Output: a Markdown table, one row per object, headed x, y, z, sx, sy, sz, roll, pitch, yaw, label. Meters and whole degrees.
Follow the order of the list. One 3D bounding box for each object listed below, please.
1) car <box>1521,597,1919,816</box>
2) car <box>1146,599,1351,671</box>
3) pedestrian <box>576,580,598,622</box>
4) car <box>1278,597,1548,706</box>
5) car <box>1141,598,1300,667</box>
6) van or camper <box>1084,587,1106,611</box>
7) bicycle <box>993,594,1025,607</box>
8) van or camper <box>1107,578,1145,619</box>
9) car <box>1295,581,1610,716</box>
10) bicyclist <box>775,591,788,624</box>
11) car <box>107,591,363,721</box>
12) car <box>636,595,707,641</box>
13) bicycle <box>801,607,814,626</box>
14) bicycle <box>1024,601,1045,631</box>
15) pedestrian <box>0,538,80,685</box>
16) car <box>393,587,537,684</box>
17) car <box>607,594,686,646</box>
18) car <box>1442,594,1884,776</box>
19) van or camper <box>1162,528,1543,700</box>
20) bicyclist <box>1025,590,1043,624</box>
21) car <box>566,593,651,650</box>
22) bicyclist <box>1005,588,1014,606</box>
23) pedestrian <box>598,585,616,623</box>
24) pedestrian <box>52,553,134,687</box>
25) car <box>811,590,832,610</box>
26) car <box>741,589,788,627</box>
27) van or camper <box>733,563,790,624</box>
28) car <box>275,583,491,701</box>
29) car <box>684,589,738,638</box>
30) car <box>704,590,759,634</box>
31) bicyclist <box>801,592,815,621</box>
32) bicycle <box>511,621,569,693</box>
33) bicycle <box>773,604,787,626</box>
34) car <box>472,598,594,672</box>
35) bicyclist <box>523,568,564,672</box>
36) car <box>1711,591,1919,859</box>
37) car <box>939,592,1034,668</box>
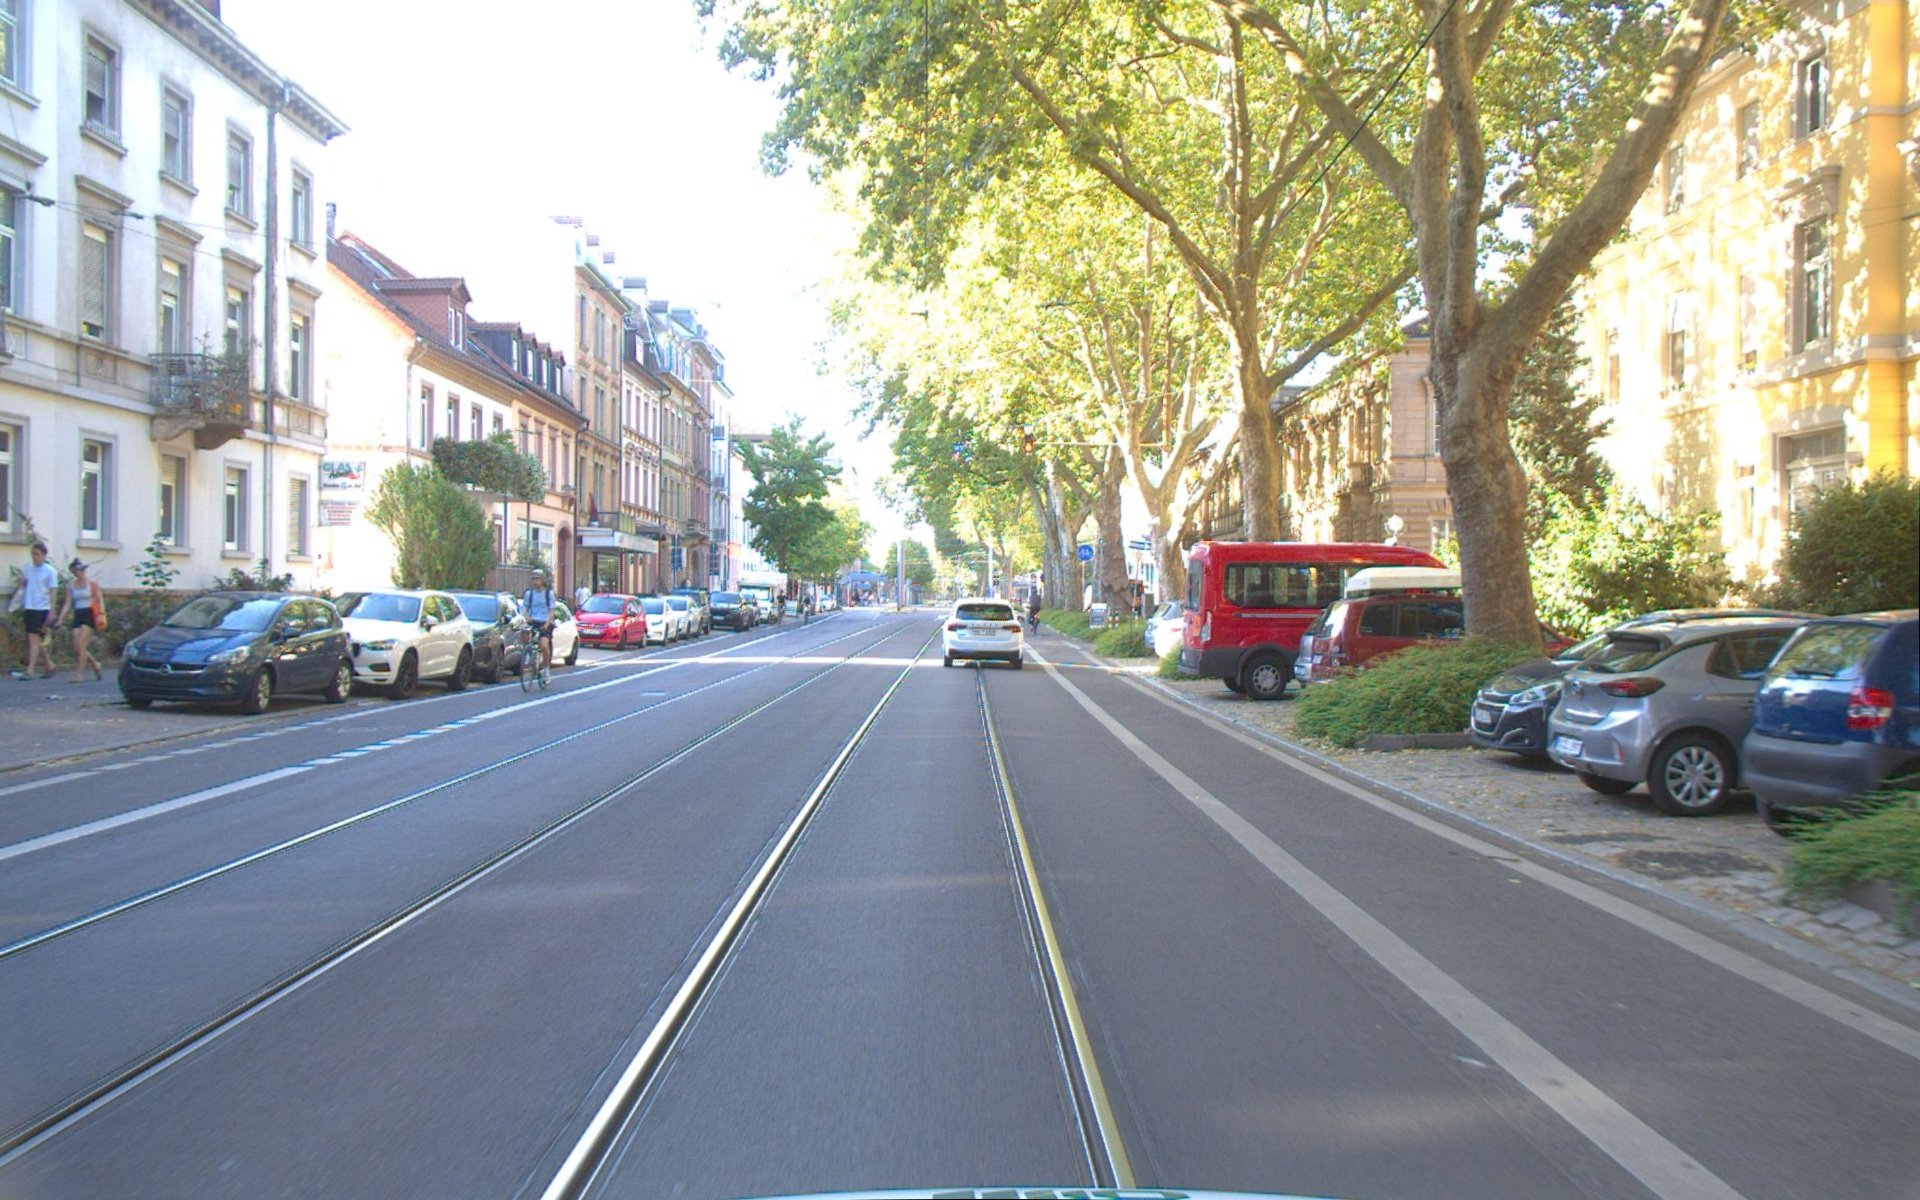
| x | y | z | sx | sy | sz | roll | pitch | yaw | label |
| --- | --- | --- | --- | --- | --- | --- | --- | --- | --- |
| 6.529 | 0.787 | 13.170 | 3.522 | 1.544 | 1.693 | -1 | 0 | -1 | car |
| 6.287 | 0.741 | 36.400 | 4.197 | 1.442 | 1.760 | -1 | 0 | 1 | car |
| -14.927 | 0.047 | 66.205 | 0.759 | 1.662 | 0.654 | 2 | 0 | -17 | pedestrian |
| 6.893 | 0.754 | 25.386 | 3.660 | 1.556 | 1.668 | -1 | 0 | -4 | car |
| 6.484 | 0.788 | 41.468 | 3.675 | 1.534 | 1.681 | 3 | 0 | -1 | car |
| 14.110 | -0.084 | 173.216 | 1.953 | 2.384 | 4.000 | 2 | 0 | 0 | van or camper |
| 4.324 | 0.043 | 146.128 | 2.711 | 1.017 | 0.593 | 2 | 0 | 14 | bicycle |
| 10.760 | -0.091 | 107.404 | 1.985 | 2.507 | 5.109 | 2 | 0 | 1 | van or camper |
| 6.701 | 0.650 | 22.755 | 3.743 | 1.678 | 1.766 | -1 | -1 | -4 | car |
| -9.204 | 0.371 | 85.171 | 0.524 | 1.663 | 0.896 | -2 | 0 | 1 | bicyclist |
| -9.293 | 0.658 | 21.540 | 1.522 | 1.542 | 3.924 | 0 | 0 | 1 | car |
| -10.142 | 0.610 | 58.467 | 1.790 | 1.529 | 4.448 | 1 | 0 | -2 | car |
| -8.271 | 0.883 | 89.829 | 0.488 | 0.959 | 1.921 | -2 | 0 | 1 | bicycle |
| 2.989 | 0.626 | 66.538 | 0.666 | 1.175 | 2.964 | 2 | 0 | -1 | bicycle |
| -13.136 | 0.164 | 23.577 | 0.744 | 2.049 | 0.829 | 0 | 0 | -3 | pedestrian |
| -9.491 | 0.622 | 32.042 | 1.821 | 1.733 | 4.653 | 0 | 0 | -6 | car |
| -9.993 | 0.613 | 53.018 | 1.790 | 1.529 | 4.686 | 1 | 0 | -3 | car |
| 6.808 | 0.789 | 16.273 | 3.596 | 1.550 | 1.693 | -2 | 0 | -1 | car |
| 6.391 | 0.200 | 27.412 | 5.699 | 2.563 | 2.286 | -2 | 1 | -3 | van or camper |
| 2.979 | 0.286 | 66.258 | 0.665 | 1.362 | 0.525 | 2 | 0 | -1 | bicyclist |
| -10.054 | 0.589 | 47.555 | 1.536 | 1.590 | 3.450 | 0 | 0 | 3 | car |
| 4.343 | -0.288 | 146.132 | 0.721 | 1.617 | 0.587 | 0 | 0 | 12 | bicyclist |
| -14.188 | 0.157 | 66.475 | 0.625 | 1.486 | 0.654 | 2 | 0 | -17 | pedestrian |
| -12.285 | 0.279 | 23.452 | 0.744 | 1.853 | 0.829 | 0 | 0 | -4 | pedestrian |
| -13.042 | 0.004 | 156.185 | 1.758 | 1.756 | 3.782 | 1 | 0 | -2 | car |
| -9.807 | 0.372 | 83.230 | 1.925 | 1.812 | 4.469 | 1 | 0 | -2 | car |
| -11.065 | -0.348 | 92.701 | 2.171 | 3.195 | 7.114 | 1 | 0 | 1 | van or camper |
| -9.178 | 0.616 | 26.742 | 1.818 | 1.733 | 4.762 | 0 | 0 | 0 | car |
| -9.407 | 0.496 | 62.742 | 1.524 | 1.762 | 3.684 | 1 | 0 | -2 | car |
| -10.270 | 0.512 | 74.709 | 1.925 | 1.812 | 4.935 | 3 | 0 | -3 | car |
| -8.257 | 0.345 | 89.948 | 0.625 | 1.529 | 1.069 | -1 | 0 | 0 | bicyclist |
| -6.798 | 0.903 | 26.851 | 0.471 | 1.105 | 1.846 | 0 | 0 | 0 | bicycle |
| -9.248 | 0.772 | 85.012 | 0.474 | 1.066 | 2.039 | -2 | 0 | 1 | bicycle |
| -9.557 | 0.745 | 37.300 | 1.652 | 1.502 | 4.257 | 2 | 0 | -1 | car |
| -6.802 | 0.319 | 27.045 | 0.463 | 1.664 | 0.800 | 0 | 0 | 0 | bicyclist |
| 7.037 | 0.770 | 10.853 | 3.522 | 1.627 | 1.540 | 0 | -1 | -1 | car |
| 0.519 | 0.621 | 35.943 | 1.805 | 1.506 | 3.836 | 1 | 0 | -3 | car |
